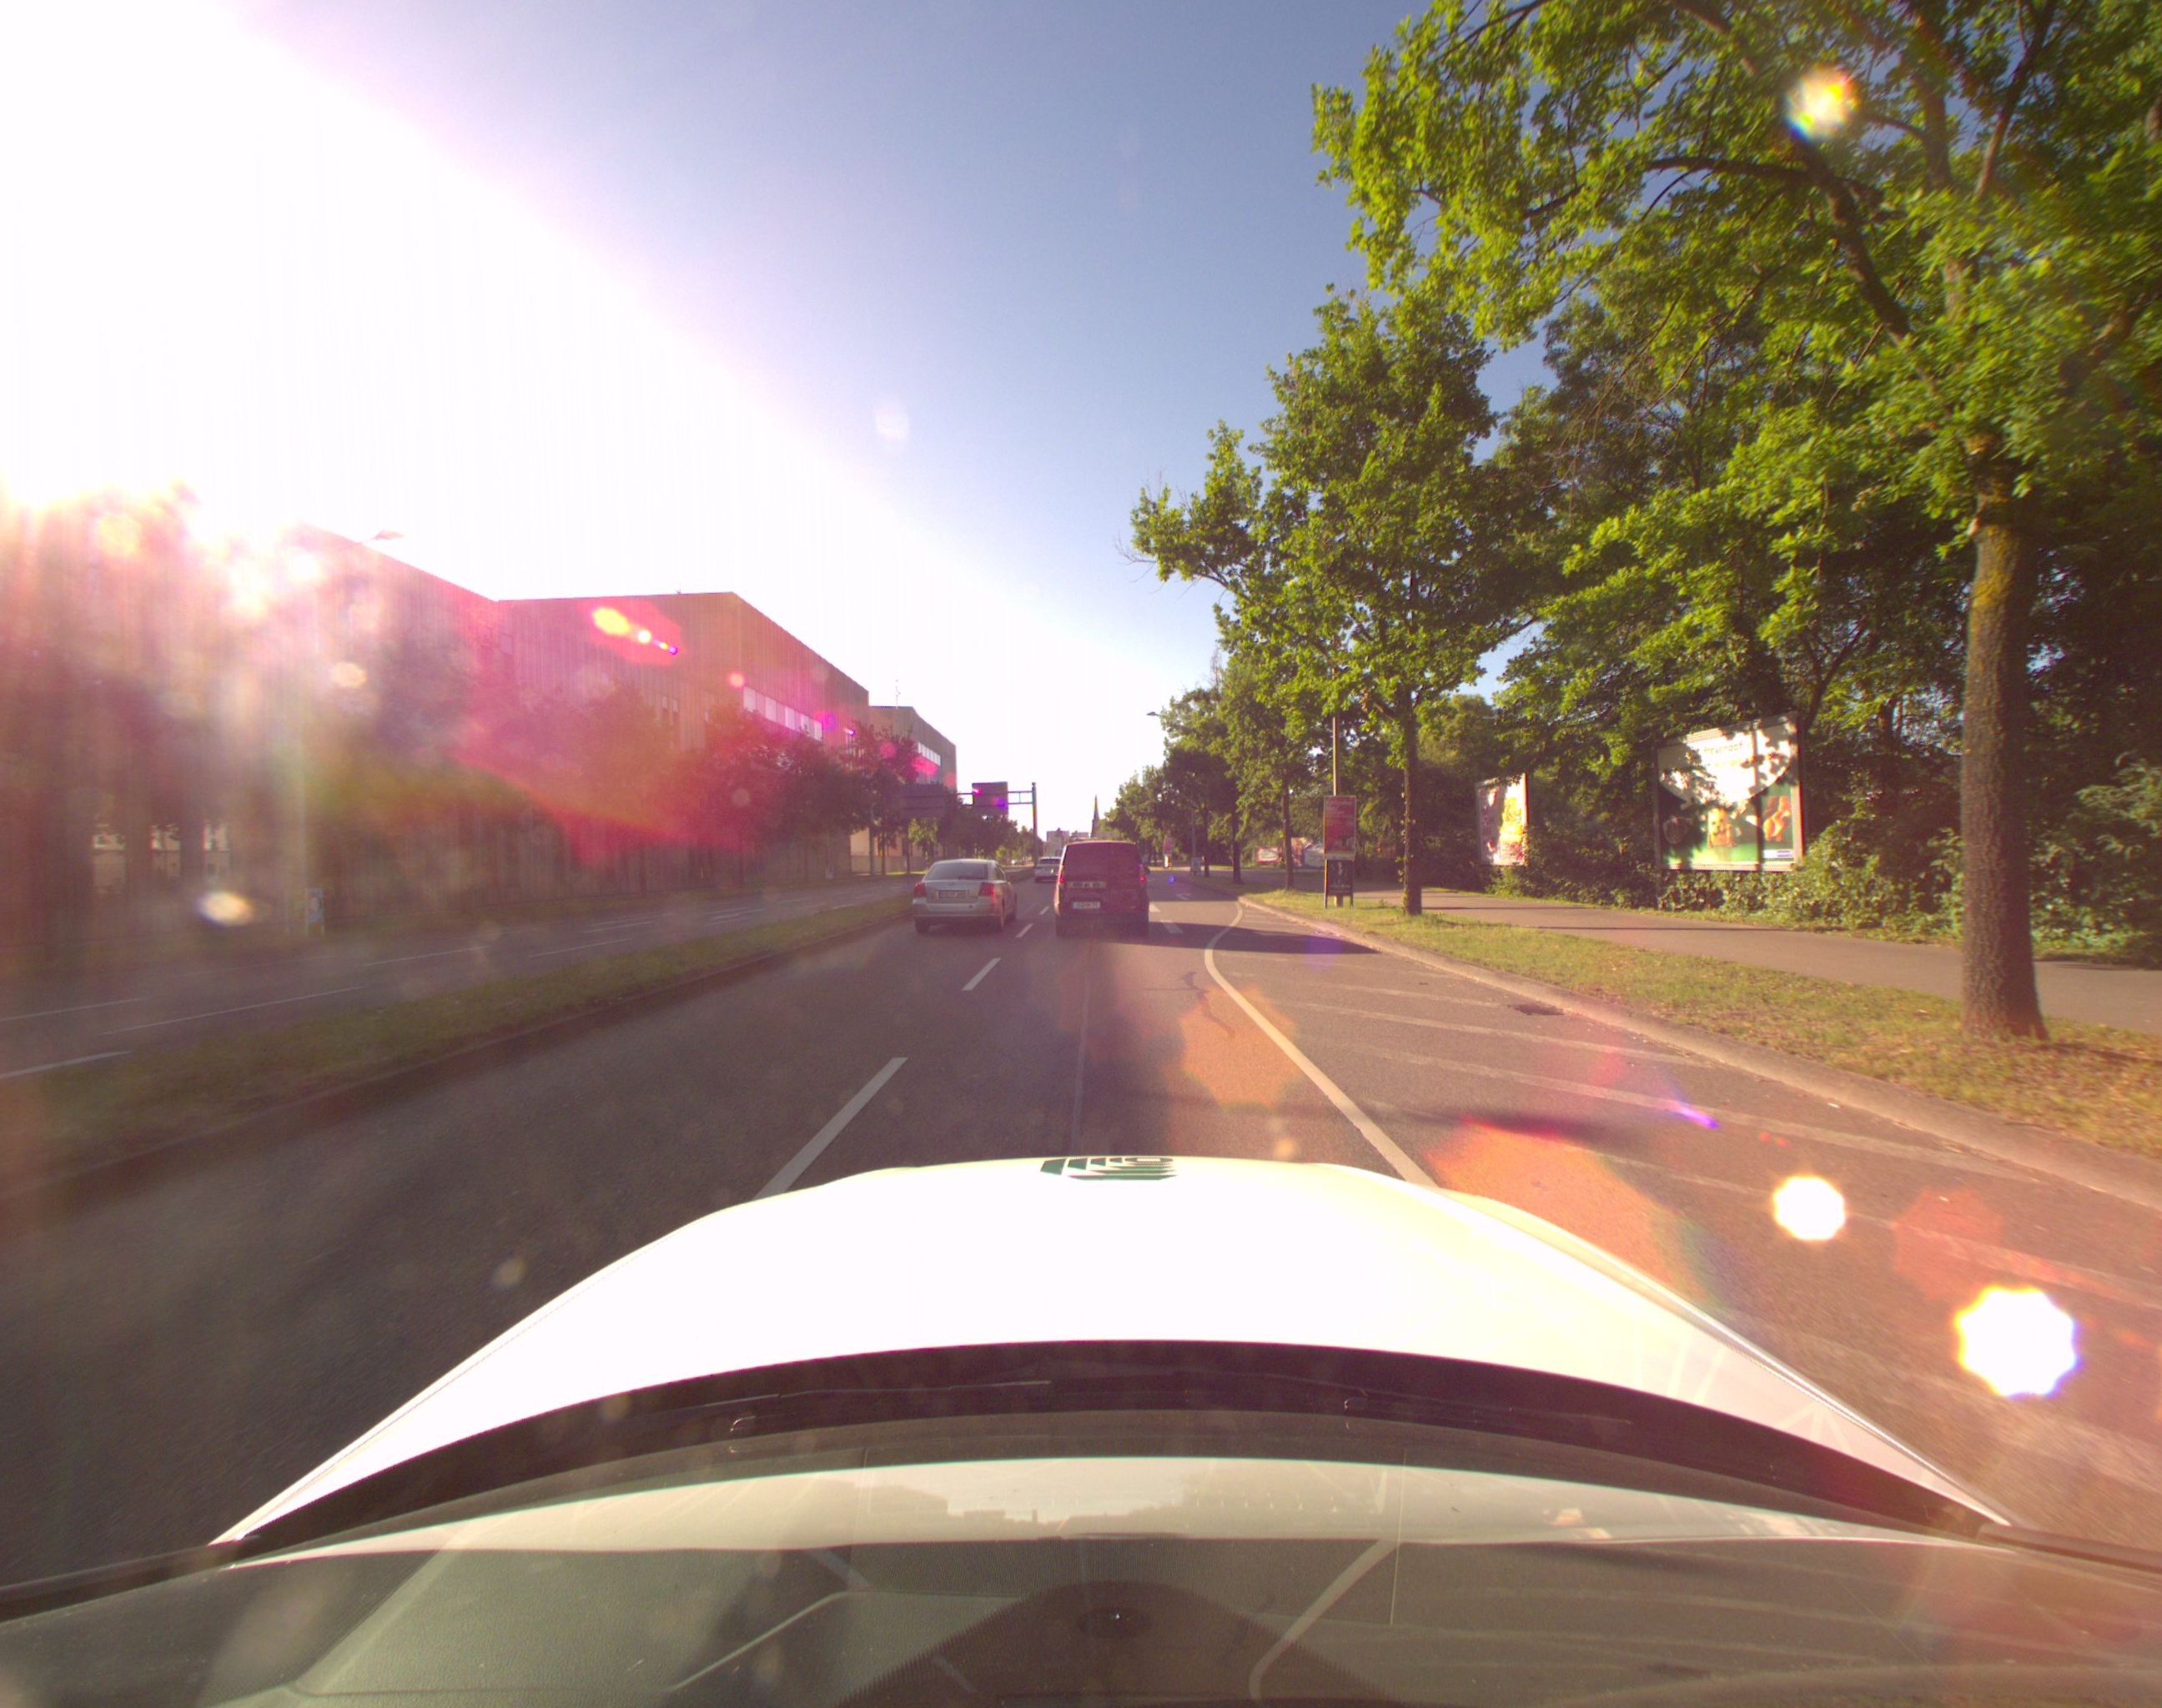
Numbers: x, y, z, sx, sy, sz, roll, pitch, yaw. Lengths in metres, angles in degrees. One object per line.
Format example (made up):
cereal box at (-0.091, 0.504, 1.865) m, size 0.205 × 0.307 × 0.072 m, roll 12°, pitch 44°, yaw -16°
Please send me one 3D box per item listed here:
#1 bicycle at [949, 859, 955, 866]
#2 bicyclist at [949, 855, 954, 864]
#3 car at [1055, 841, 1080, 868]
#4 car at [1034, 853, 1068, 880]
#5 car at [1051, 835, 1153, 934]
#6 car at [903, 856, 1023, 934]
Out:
bicycle at (-21.311, 1.385, 134.263) m, size 0.568 × 1.003 × 2.096 m, roll -2°, pitch -1°, yaw 0°
bicyclist at (-21.324, 0.874, 134.218) m, size 0.560 × 1.392 × 0.747 m, roll -2°, pitch -1°, yaw 0°
car at (-0.979, 0.066, 59.369) m, size 1.656 × 1.856 × 3.559 m, roll -2°, pitch 0°, yaw 1°
car at (-1.639, 0.687, 45.773) m, size 1.656 × 1.398 × 3.559 m, roll -2°, pitch 0°, yaw 1°
car at (0.407, 0.556, 16.632) m, size 1.800 × 1.759 × 4.006 m, roll -1°, pitch 0°, yaw 1°
car at (-2.374, 0.774, 17.404) m, size 1.834 × 1.456 × 4.163 m, roll -1°, pitch 0°, yaw 1°
